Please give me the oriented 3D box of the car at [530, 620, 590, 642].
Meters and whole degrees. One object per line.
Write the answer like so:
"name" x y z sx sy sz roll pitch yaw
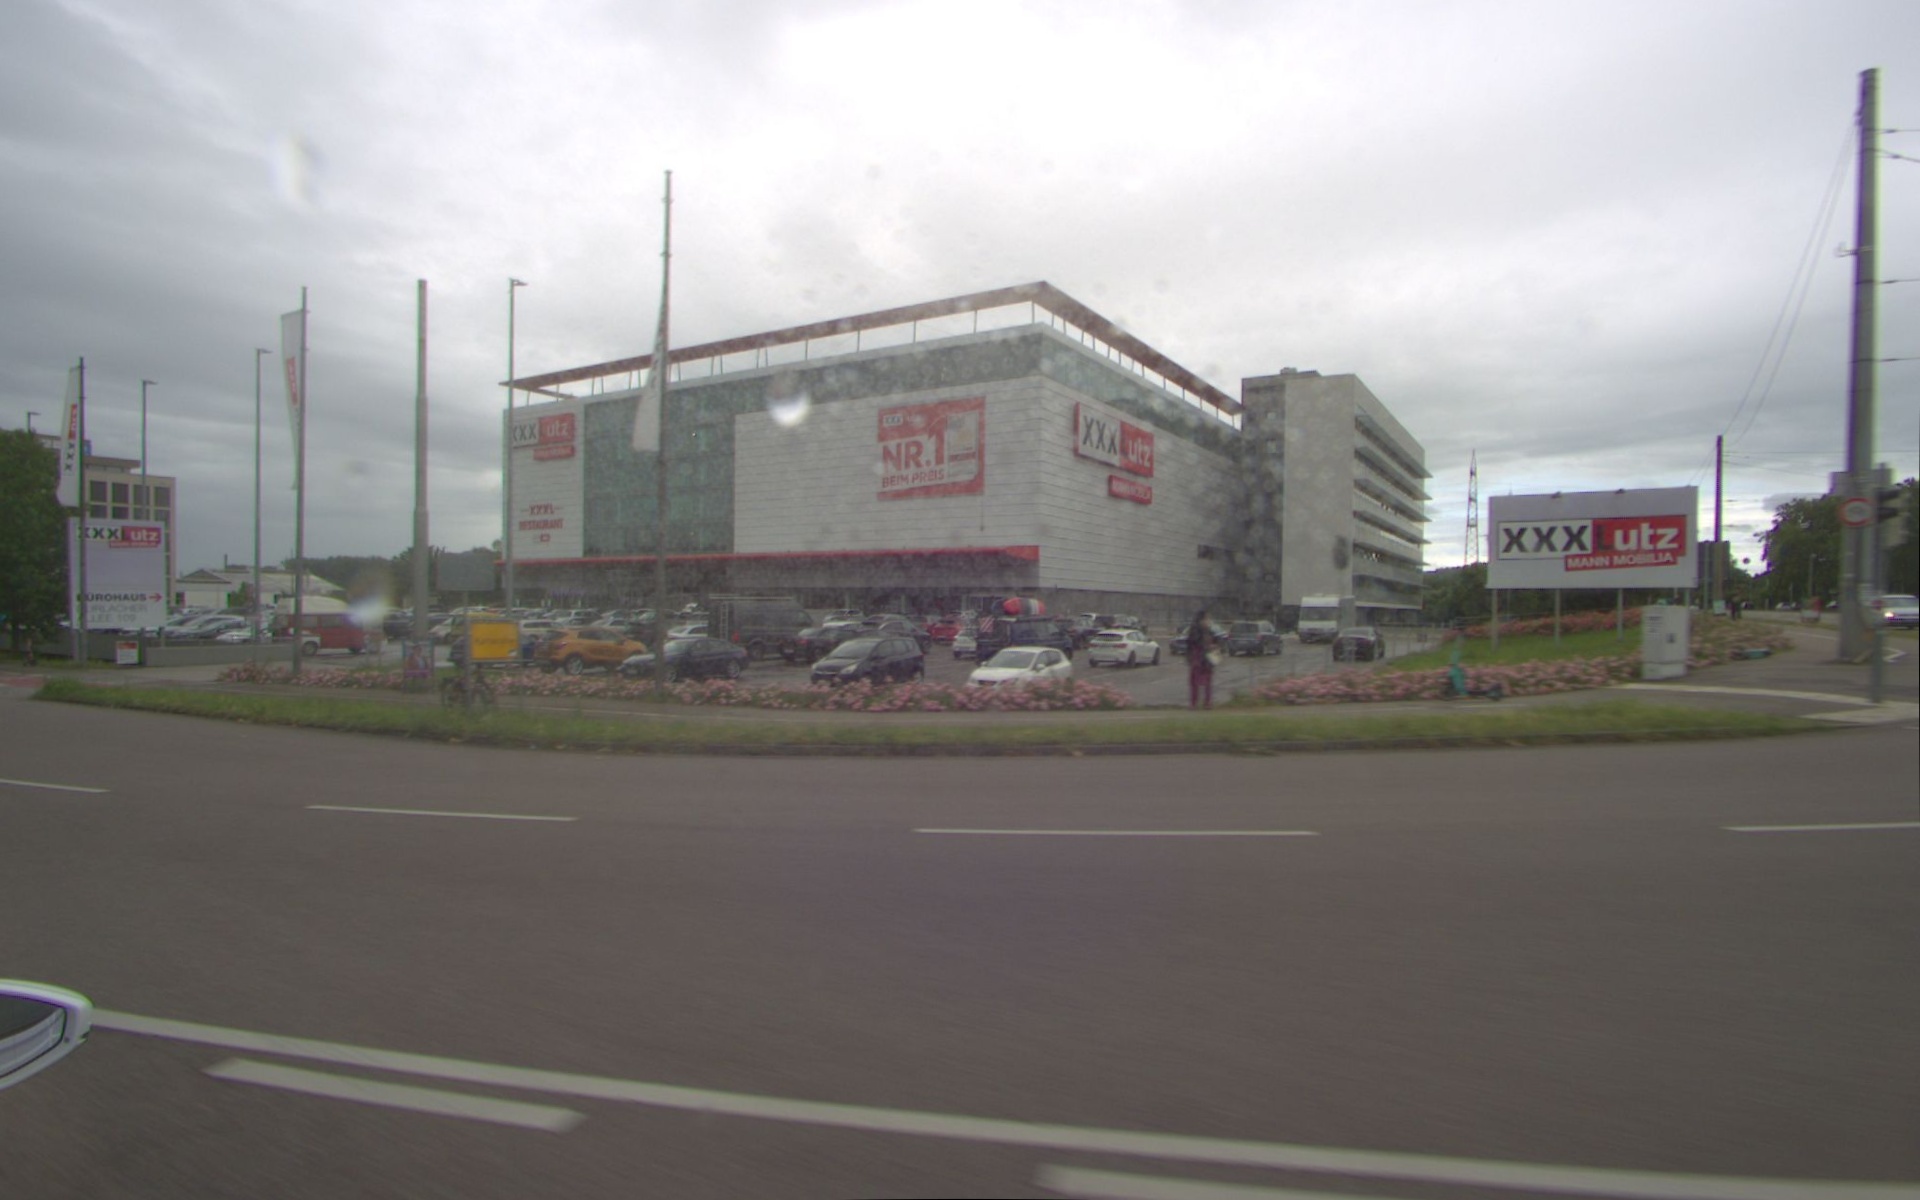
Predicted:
"car" -30.841 2.398 77.316 1.752 1.582 3.977 2 0 35

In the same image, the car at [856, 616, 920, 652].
"car" -4.272 2.019 60.192 1.857 2.074 3.980 -1 -2 33

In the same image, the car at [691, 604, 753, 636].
"car" -16.212 1.392 68.300 1.885 2.083 3.983 1 -1 30

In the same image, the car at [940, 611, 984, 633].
"car" 0.160 1.666 75.974 1.628 1.581 3.595 1 1 34

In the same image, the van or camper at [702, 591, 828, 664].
"van or camper" -8.443 1.186 43.830 1.968 3.022 5.356 -1 -1 40

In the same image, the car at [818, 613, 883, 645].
"car" -6.671 1.751 61.413 1.827 1.799 4.178 1 1 30

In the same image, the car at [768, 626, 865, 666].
"car" -6.058 1.905 42.662 1.972 1.589 3.979 -1 -1 33

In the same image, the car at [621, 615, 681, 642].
"car" -22.308 2.082 72.387 1.860 1.845 3.985 -1 -2 28

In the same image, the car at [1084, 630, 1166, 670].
"car" 6.741 1.987 40.638 1.722 1.495 4.187 -1 -1 34

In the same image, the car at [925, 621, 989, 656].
"car" -0.123 2.183 57.361 1.807 1.886 3.978 -1 -1 33

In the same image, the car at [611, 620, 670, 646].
"car" -23.655 2.428 74.195 1.761 1.843 3.980 -1 -2 32

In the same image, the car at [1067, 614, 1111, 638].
"car" 9.072 1.802 70.223 1.628 1.581 3.595 1 1 34

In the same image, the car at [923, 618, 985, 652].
"car" -0.338 2.133 62.444 1.973 2.040 3.978 -1 -1 34

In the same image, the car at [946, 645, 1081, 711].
"car" 1.512 1.989 26.526 1.848 1.465 4.101 2 0 31

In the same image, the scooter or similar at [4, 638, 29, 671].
"scooter or similar" -42.586 2.464 45.202 1.799 1.439 0.647 -2 -1 42

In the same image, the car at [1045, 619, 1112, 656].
"car" 6.373 1.953 53.414 1.840 1.804 4.198 0 0 35

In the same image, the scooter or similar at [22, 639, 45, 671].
"scooter or similar" -36.339 2.149 39.271 1.230 1.206 0.369 0 0 33

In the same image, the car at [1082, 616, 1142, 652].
"car" 8.810 1.952 57.797 1.924 1.954 3.976 -1 -1 35

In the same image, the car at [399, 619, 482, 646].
"car" -30.498 1.905 58.896 1.861 1.553 3.981 0 -2 32

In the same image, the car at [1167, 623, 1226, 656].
"car" 11.559 1.896 48.830 1.805 1.536 3.983 -1 -1 29

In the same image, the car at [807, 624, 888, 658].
"car" -5.459 1.975 48.950 1.829 1.575 3.979 -1 -2 33

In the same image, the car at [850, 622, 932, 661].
"car" -3.199 1.914 47.162 1.860 1.692 3.977 -1 -1 34

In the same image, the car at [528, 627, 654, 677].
"car" -13.261 1.824 36.164 1.792 1.664 3.974 -1 -2 37

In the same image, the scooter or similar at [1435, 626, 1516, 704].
"scooter or similar" 8.450 1.057 16.417 1.142 1.248 0.346 0 -2 -6

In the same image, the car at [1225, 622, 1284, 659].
"car" 14.127 1.882 47.914 1.857 1.687 3.983 0 -1 29

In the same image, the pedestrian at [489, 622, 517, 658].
"pedestrian" -22.601 1.973 49.517 0.872 1.742 0.938 2 0 31

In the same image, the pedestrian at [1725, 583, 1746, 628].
"pedestrian" 31.814 0.239 41.075 0.538 1.805 0.632 2 1 29

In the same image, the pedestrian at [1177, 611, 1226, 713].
"pedestrian" 3.995 1.015 16.565 0.703 1.617 0.783 -3 -1 13

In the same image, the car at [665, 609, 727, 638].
"car" -18.313 1.677 69.593 1.906 1.950 3.983 -1 -2 30

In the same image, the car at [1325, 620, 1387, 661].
"car" 18.007 1.789 45.417 1.888 1.779 3.978 -1 -1 33

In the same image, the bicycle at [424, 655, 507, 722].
"bicycle" -8.521 1.497 17.233 1.671 1.062 0.660 -2 -2 39

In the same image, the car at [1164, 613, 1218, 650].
"car" 13.011 1.779 56.166 1.969 1.976 3.984 -1 -2 28
